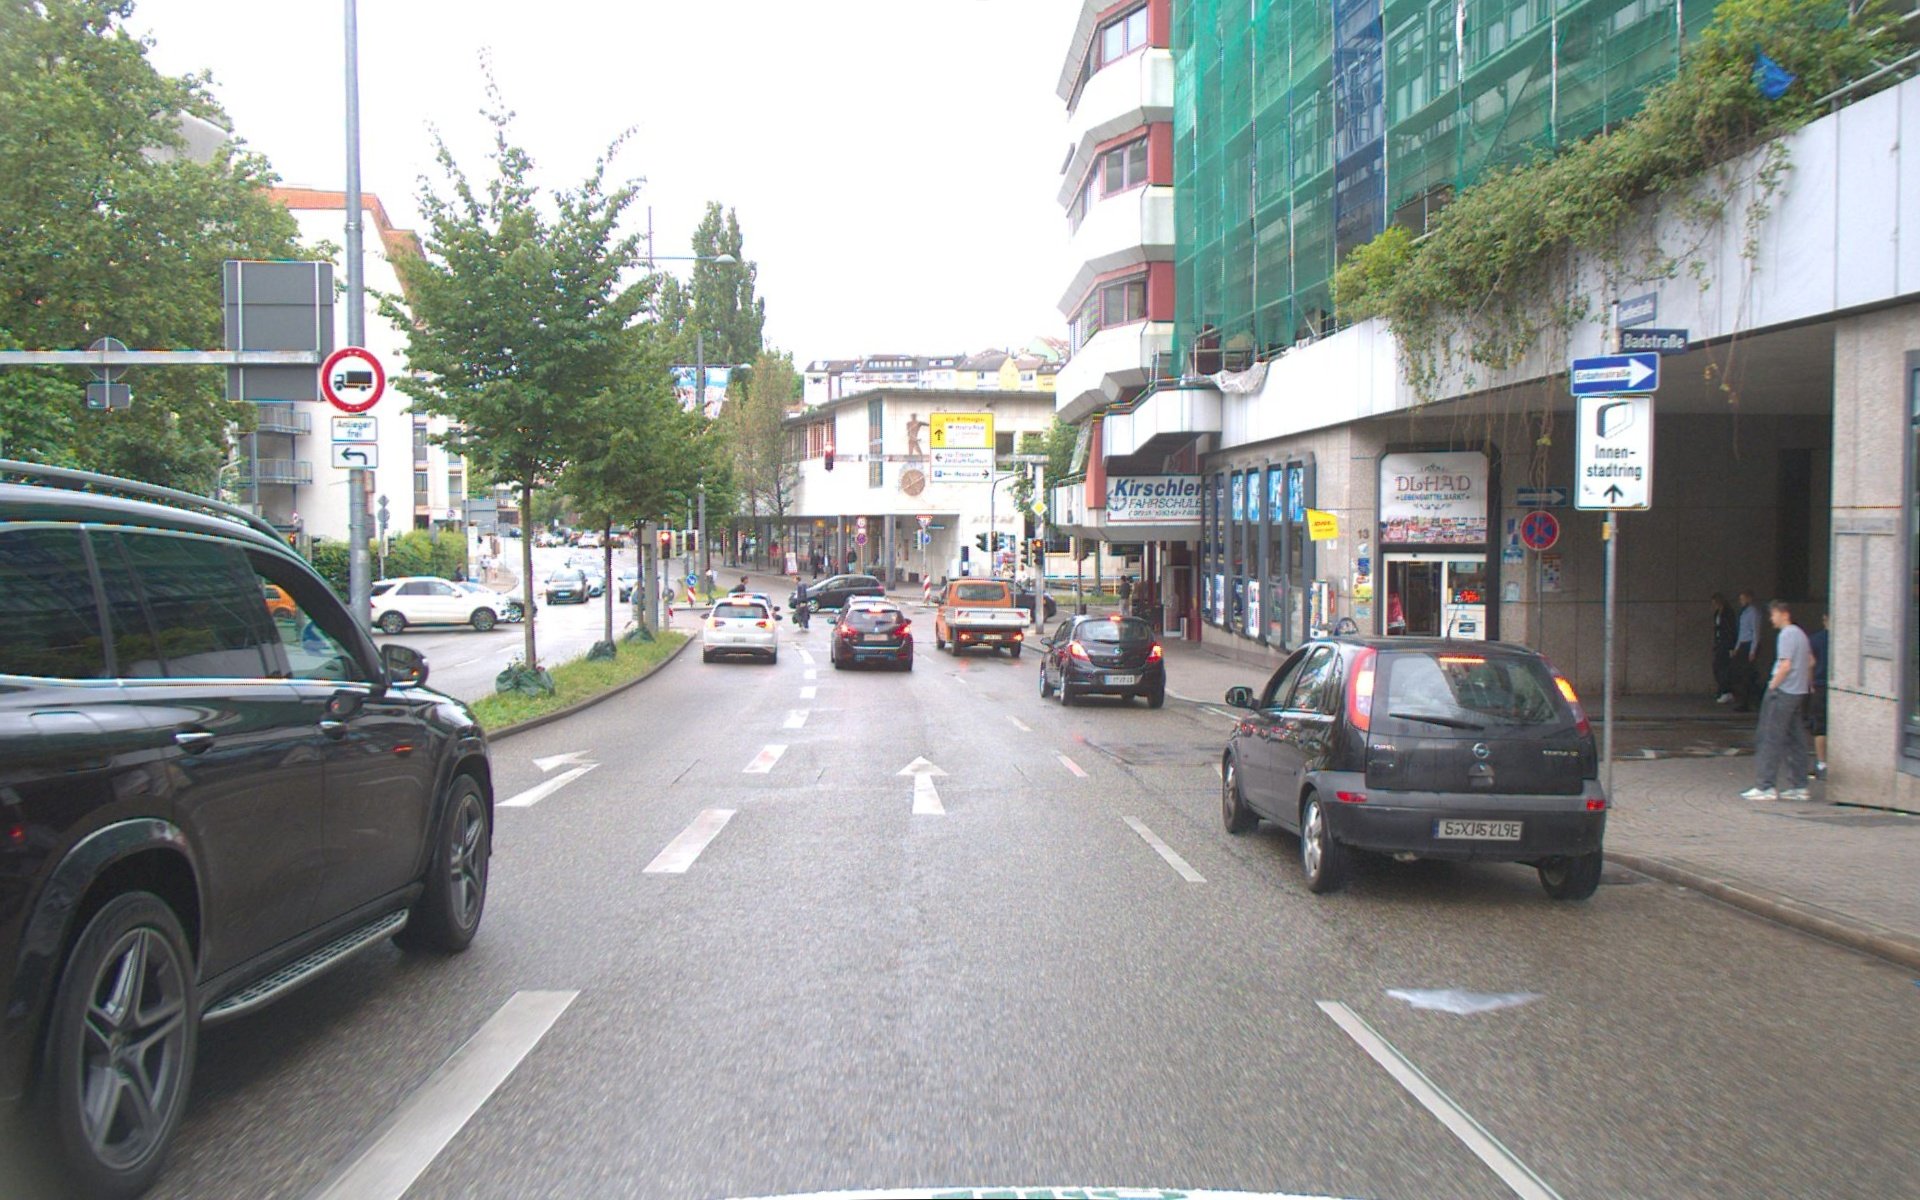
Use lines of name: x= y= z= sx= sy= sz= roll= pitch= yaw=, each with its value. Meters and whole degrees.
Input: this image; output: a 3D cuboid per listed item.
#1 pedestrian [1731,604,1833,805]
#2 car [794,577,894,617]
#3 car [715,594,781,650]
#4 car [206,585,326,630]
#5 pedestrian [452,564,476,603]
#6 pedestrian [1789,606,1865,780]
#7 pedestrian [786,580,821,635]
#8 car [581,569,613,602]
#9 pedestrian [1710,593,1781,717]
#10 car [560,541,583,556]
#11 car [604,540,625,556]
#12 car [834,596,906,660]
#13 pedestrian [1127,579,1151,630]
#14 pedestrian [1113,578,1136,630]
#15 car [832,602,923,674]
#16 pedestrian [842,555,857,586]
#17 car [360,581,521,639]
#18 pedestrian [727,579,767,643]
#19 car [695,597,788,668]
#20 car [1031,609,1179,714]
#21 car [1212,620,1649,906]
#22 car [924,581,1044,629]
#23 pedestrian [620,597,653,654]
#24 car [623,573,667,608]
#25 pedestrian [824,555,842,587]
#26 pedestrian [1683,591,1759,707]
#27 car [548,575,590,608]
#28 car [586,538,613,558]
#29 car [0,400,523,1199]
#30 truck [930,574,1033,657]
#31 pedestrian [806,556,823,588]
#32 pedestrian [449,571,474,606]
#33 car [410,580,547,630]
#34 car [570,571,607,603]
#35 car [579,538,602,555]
pedestrian: x=7.086 y=0.885 z=14.250 sx=0.631 sy=1.678 sz=0.560 roll=-3 pitch=-1 yaw=38
car: x=-4.683 y=-0.121 z=66.341 sx=3.911 sy=1.554 sz=1.844 roll=0 pitch=0 yaw=-8
car: x=-5.923 y=0.585 z=46.513 sx=1.760 sy=1.494 sz=3.995 roll=0 pitch=0 yaw=-6
car: x=-26.048 y=0.284 z=62.216 sx=3.931 sy=1.645 sz=1.768 roll=0 pitch=0 yaw=-16
pedestrian: x=-23.821 y=-0.795 z=79.416 sx=0.899 sy=1.834 sz=0.617 roll=-1 pitch=0 yaw=-44
pedestrian: x=8.665 y=0.908 z=16.546 sx=0.586 sy=1.691 sz=0.575 roll=0 pitch=1 yaw=19
pedestrian: x=-5.111 y=0.241 z=54.003 sx=0.989 sy=1.752 sz=0.838 roll=-1 pitch=0 yaw=1
car: x=-19.628 y=-0.758 z=89.471 sx=1.675 sy=1.751 sz=3.988 roll=0 pitch=0 yaw=-12
pedestrian: x=12.205 y=0.839 z=25.719 sx=0.603 sy=1.809 sz=0.838 roll=-1 pitch=5 yaw=-6
car: x=-42.096 y=-5.552 z=179.110 sx=1.727 sy=1.581 sz=3.539 roll=0 pitch=0 yaw=-26
car: x=-36.355 y=-5.464 z=174.216 sx=1.803 sy=1.616 sz=3.855 roll=0 pitch=0 yaw=-17
car: x=-2.483 y=0.721 z=44.825 sx=1.727 sy=1.569 sz=3.995 roll=0 pitch=1 yaw=-6
pedestrian: x=6.148 y=0.147 z=56.739 sx=0.566 sy=1.729 sz=0.647 roll=-1 pitch=0 yaw=-18
pedestrian: x=5.617 y=0.143 z=56.340 sx=0.566 sy=1.729 sz=0.648 roll=-1 pitch=0 yaw=-13
car: x=-1.953 y=0.840 z=38.089 sx=1.777 sy=1.466 sz=3.994 roll=1 pitch=1 yaw=-7
pedestrian: x=-6.642 y=-1.756 z=99.174 sx=0.691 sy=1.834 sz=0.934 roll=-1 pitch=0 yaw=-18
car: x=-17.229 y=0.351 z=55.125 sx=4.988 sy=1.790 sz=1.991 roll=1 pitch=-1 yaw=-16
pedestrian: x=-6.511 y=0.332 z=50.505 sx=1.041 sy=1.915 sz=0.839 roll=-1 pitch=0 yaw=3
car: x=-5.165 y=0.732 z=39.497 sx=1.911 sy=1.601 sz=3.997 roll=0 pitch=0 yaw=-3
car: x=2.362 y=0.976 z=27.972 sx=1.911 sy=1.601 sz=3.997 roll=0 pitch=0 yaw=-4
car: x=2.725 y=0.866 z=10.453 sx=1.682 sy=1.445 sz=3.770 roll=0 pitch=0 yaw=0
car: x=0.862 y=0.186 z=60.608 sx=4.079 sy=1.686 sz=1.834 roll=0 pitch=0 yaw=-15
pedestrian: x=-10.173 y=0.782 z=52.022 sx=0.818 sy=1.752 sz=0.819 roll=-1 pitch=0 yaw=3
car: x=-14.512 y=-0.444 z=76.404 sx=1.786 sy=1.576 sz=3.993 roll=0 pitch=0 yaw=-8
pedestrian: x=-7.566 y=-1.735 z=98.637 sx=0.833 sy=1.834 sz=1.051 roll=-1 pitch=0 yaw=-18
pedestrian: x=12.216 y=0.775 z=26.568 sx=0.704 sy=1.751 sz=0.769 roll=1 pitch=7 yaw=-6
car: x=-17.761 y=-0.392 z=75.213 sx=1.676 sy=1.476 sz=3.851 roll=0 pitch=0 yaw=-11
car: x=-39.491 y=-5.696 z=181.071 sx=1.969 sy=2.049 sz=3.966 roll=0 pitch=0 yaw=-26
car: x=-2.953 y=0.506 z=5.119 sx=2.046 sy=1.849 sz=4.790 roll=2 pitch=0 yaw=-2
truck: x=0.516 y=0.393 z=45.146 sx=2.142 sy=2.119 sz=5.595 roll=0 pitch=0 yaw=-6
pedestrian: x=-8.724 y=-1.667 z=98.979 sx=0.786 sy=1.834 sz=0.913 roll=-1 pitch=0 yaw=-18
pedestrian: x=-23.487 y=-0.551 z=77.928 sx=0.919 sy=1.636 sz=0.554 roll=-1 pitch=0 yaw=-45
car: x=-17.155 y=0.189 z=58.997 sx=4.610 sy=1.672 sz=1.778 roll=1 pitch=-1 yaw=-18
car: x=-18.568 y=-0.651 z=82.820 sx=1.746 sy=1.576 sz=3.988 roll=0 pitch=0 yaw=-12
car: x=-38.041 y=-5.455 z=170.133 sx=1.963 sy=1.624 sz=3.978 roll=0 pitch=0 yaw=-19
